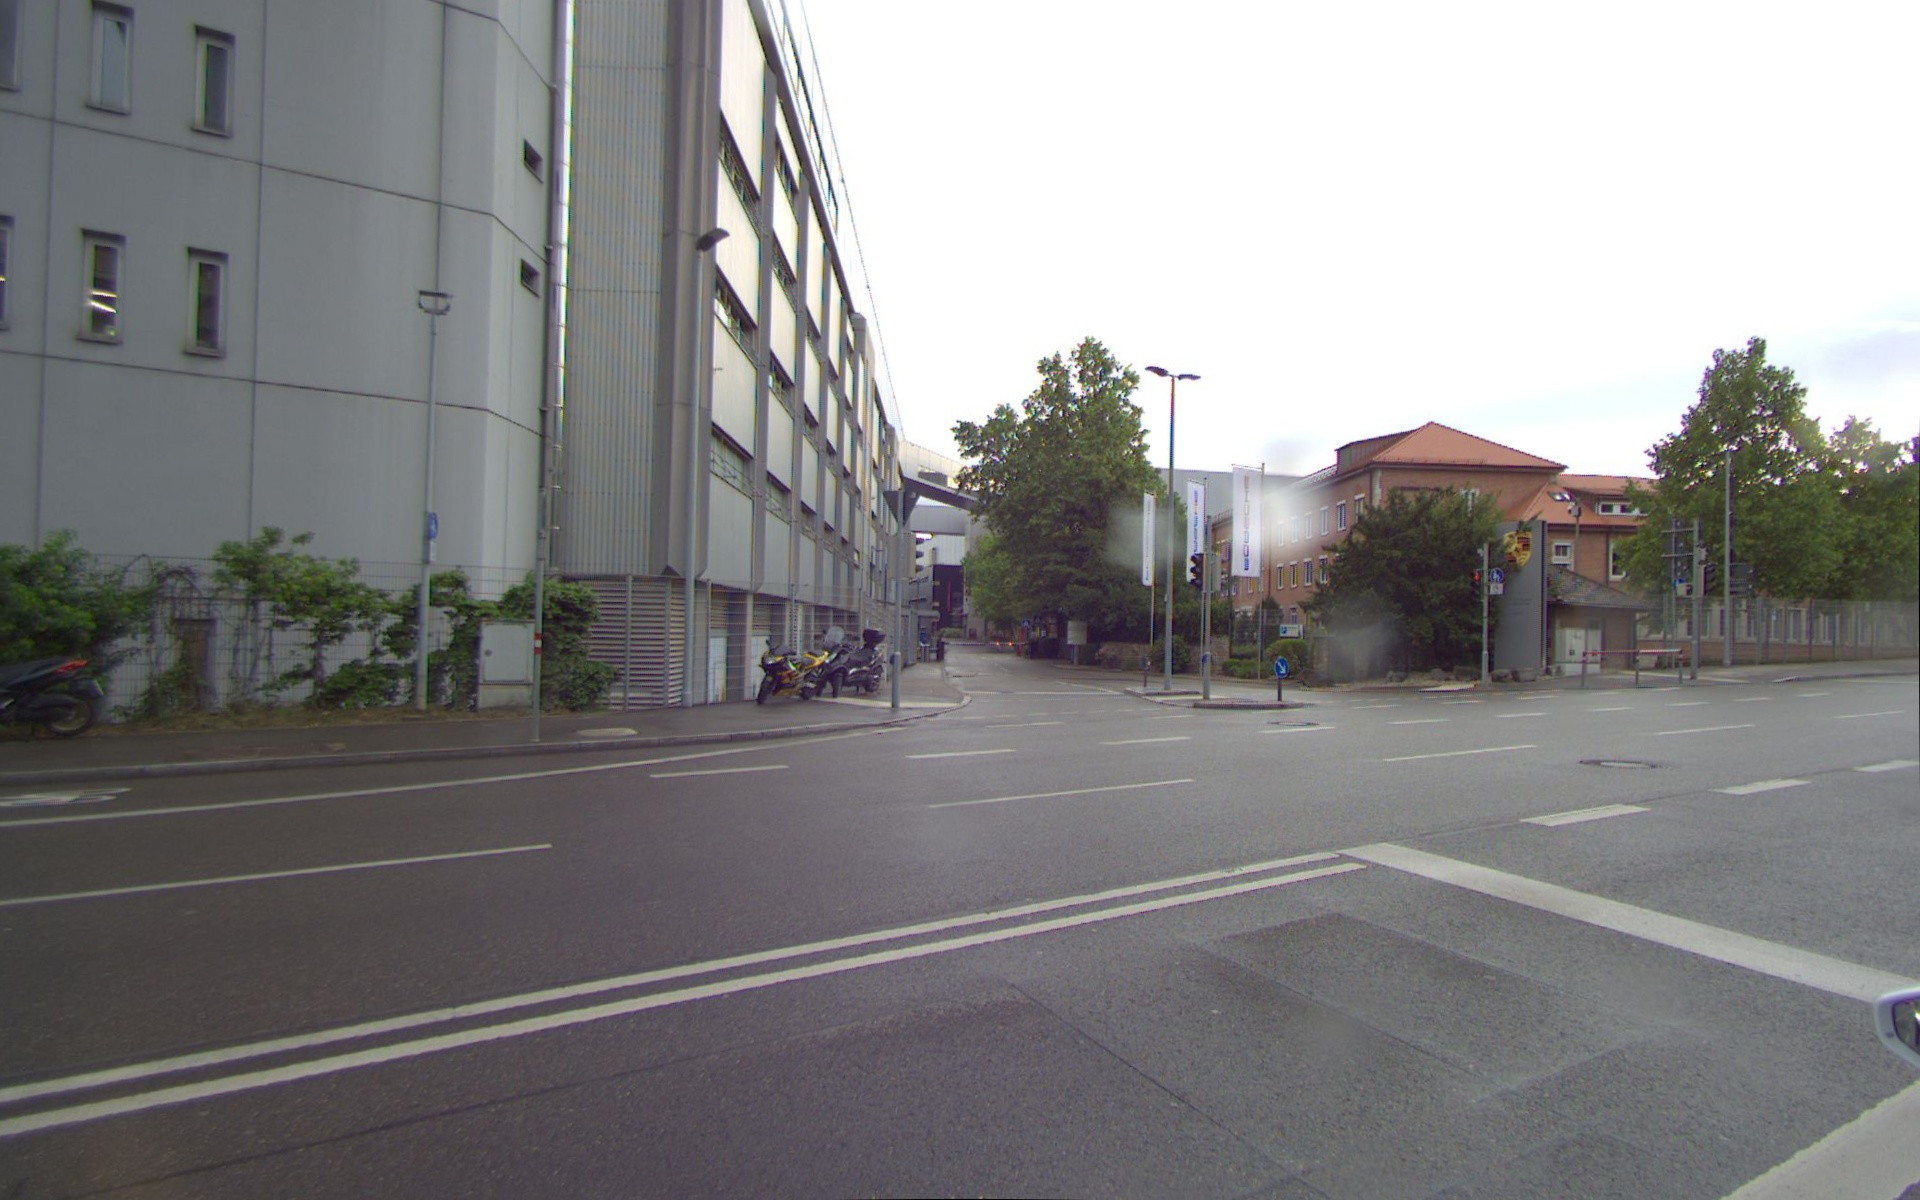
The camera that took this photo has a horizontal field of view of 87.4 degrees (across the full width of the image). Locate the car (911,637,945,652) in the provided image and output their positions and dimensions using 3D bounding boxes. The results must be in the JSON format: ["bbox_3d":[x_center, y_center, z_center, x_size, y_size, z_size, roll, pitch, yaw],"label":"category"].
[{"bbox_3d":[-4.206,5.802,130.834,3.913,1.849,1.955,2,0,-31],"label":"car"}]

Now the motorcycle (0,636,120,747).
[{"bbox_3d":[-11.364,1.062,11.826,2.133,1.263,0.780,2,-2,-32],"label":"motorcycle"}]

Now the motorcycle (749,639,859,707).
[{"bbox_3d":[-3.074,1.421,20.091,0.759,1.234,2.504,0,-2,30],"label":"motorcycle"}]

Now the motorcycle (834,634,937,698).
[{"bbox_3d":[-1.621,1.439,22.529,1.008,1.355,2.772,-1,-2,27],"label":"motorcycle"}]
